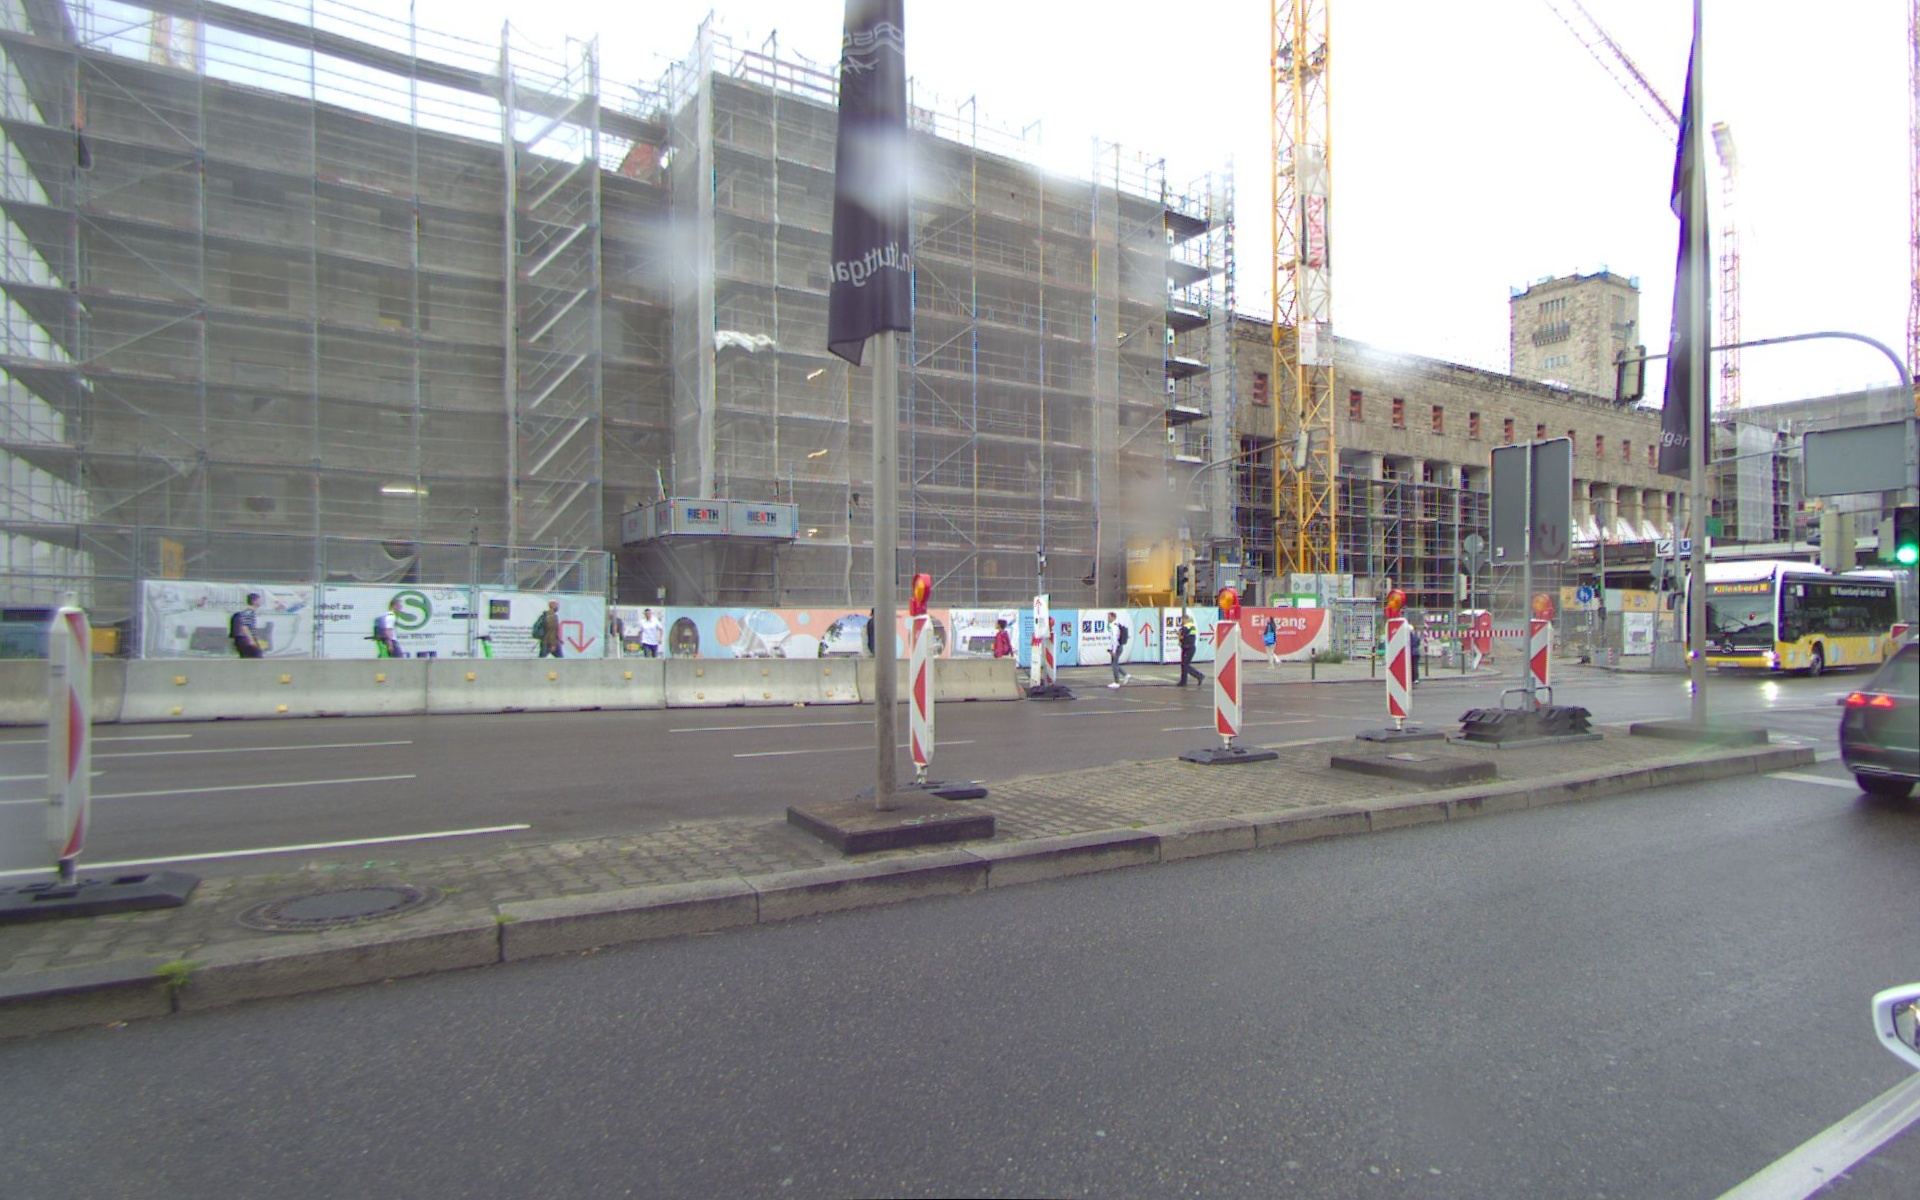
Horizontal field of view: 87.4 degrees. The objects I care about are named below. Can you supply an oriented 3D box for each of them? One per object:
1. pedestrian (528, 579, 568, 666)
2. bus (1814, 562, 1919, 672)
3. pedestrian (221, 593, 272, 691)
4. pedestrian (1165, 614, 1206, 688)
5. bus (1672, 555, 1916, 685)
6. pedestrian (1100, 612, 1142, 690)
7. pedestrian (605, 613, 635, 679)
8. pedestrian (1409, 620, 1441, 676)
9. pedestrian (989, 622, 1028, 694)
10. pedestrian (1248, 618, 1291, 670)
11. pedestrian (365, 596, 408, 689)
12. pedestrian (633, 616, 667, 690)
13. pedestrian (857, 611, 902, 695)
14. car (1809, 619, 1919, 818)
[{"bbox_3d":[-8.957,0.492,21.841,0.709,1.860,0.478,1,0,-30],"label":"pedestrian"},{"bbox_3d":[35.508,0.683,37.243,10.092,3.650,2.655,2,0,-30],"label":"bus"},{"bbox_3d":[-13.820,0.802,19.472,0.709,1.860,0.583,1,0,-30],"label":"pedestrian"},{"bbox_3d":[5.763,1.296,25.697,0.810,1.860,0.575,1,0,-30],"label":"pedestrian"},{"bbox_3d":[26.738,0.682,31.994,10.119,3.650,2.655,2,0,-30],"label":"bus"},{"bbox_3d":[4.098,1.280,25.586,0.614,1.915,0.793,1,0,-38],"label":"pedestrian"},{"bbox_3d":[-9.747,1.307,28.788,0.709,1.860,0.478,1,0,-30],"label":"pedestrian"},{"bbox_3d":[13.580,1.395,29.364,0.772,1.581,0.875,2,0,22],"label":"pedestrian"},{"bbox_3d":[1.195,1.419,24.875,0.613,1.740,0.794,1,-2,-33],"label":"pedestrian"},{"bbox_3d":[9.831,1.393,31.919,0.890,1.584,0.909,2,0,-33],"label":"pedestrian"},{"bbox_3d":[-11.665,0.854,20.428,0.709,1.860,0.478,1,0,-30],"label":"pedestrian"},{"bbox_3d":[-7.942,1.341,25.764,0.709,1.860,0.478,1,0,-30],"label":"pedestrian"},{"bbox_3d":[-1.825,1.199,22.773,0.810,1.860,0.575,1,0,-30],"label":"pedestrian"},{"bbox_3d":[9.355,0.972,8.542,4.533,1.489,1.846,2,0,-30],"label":"car"}]
